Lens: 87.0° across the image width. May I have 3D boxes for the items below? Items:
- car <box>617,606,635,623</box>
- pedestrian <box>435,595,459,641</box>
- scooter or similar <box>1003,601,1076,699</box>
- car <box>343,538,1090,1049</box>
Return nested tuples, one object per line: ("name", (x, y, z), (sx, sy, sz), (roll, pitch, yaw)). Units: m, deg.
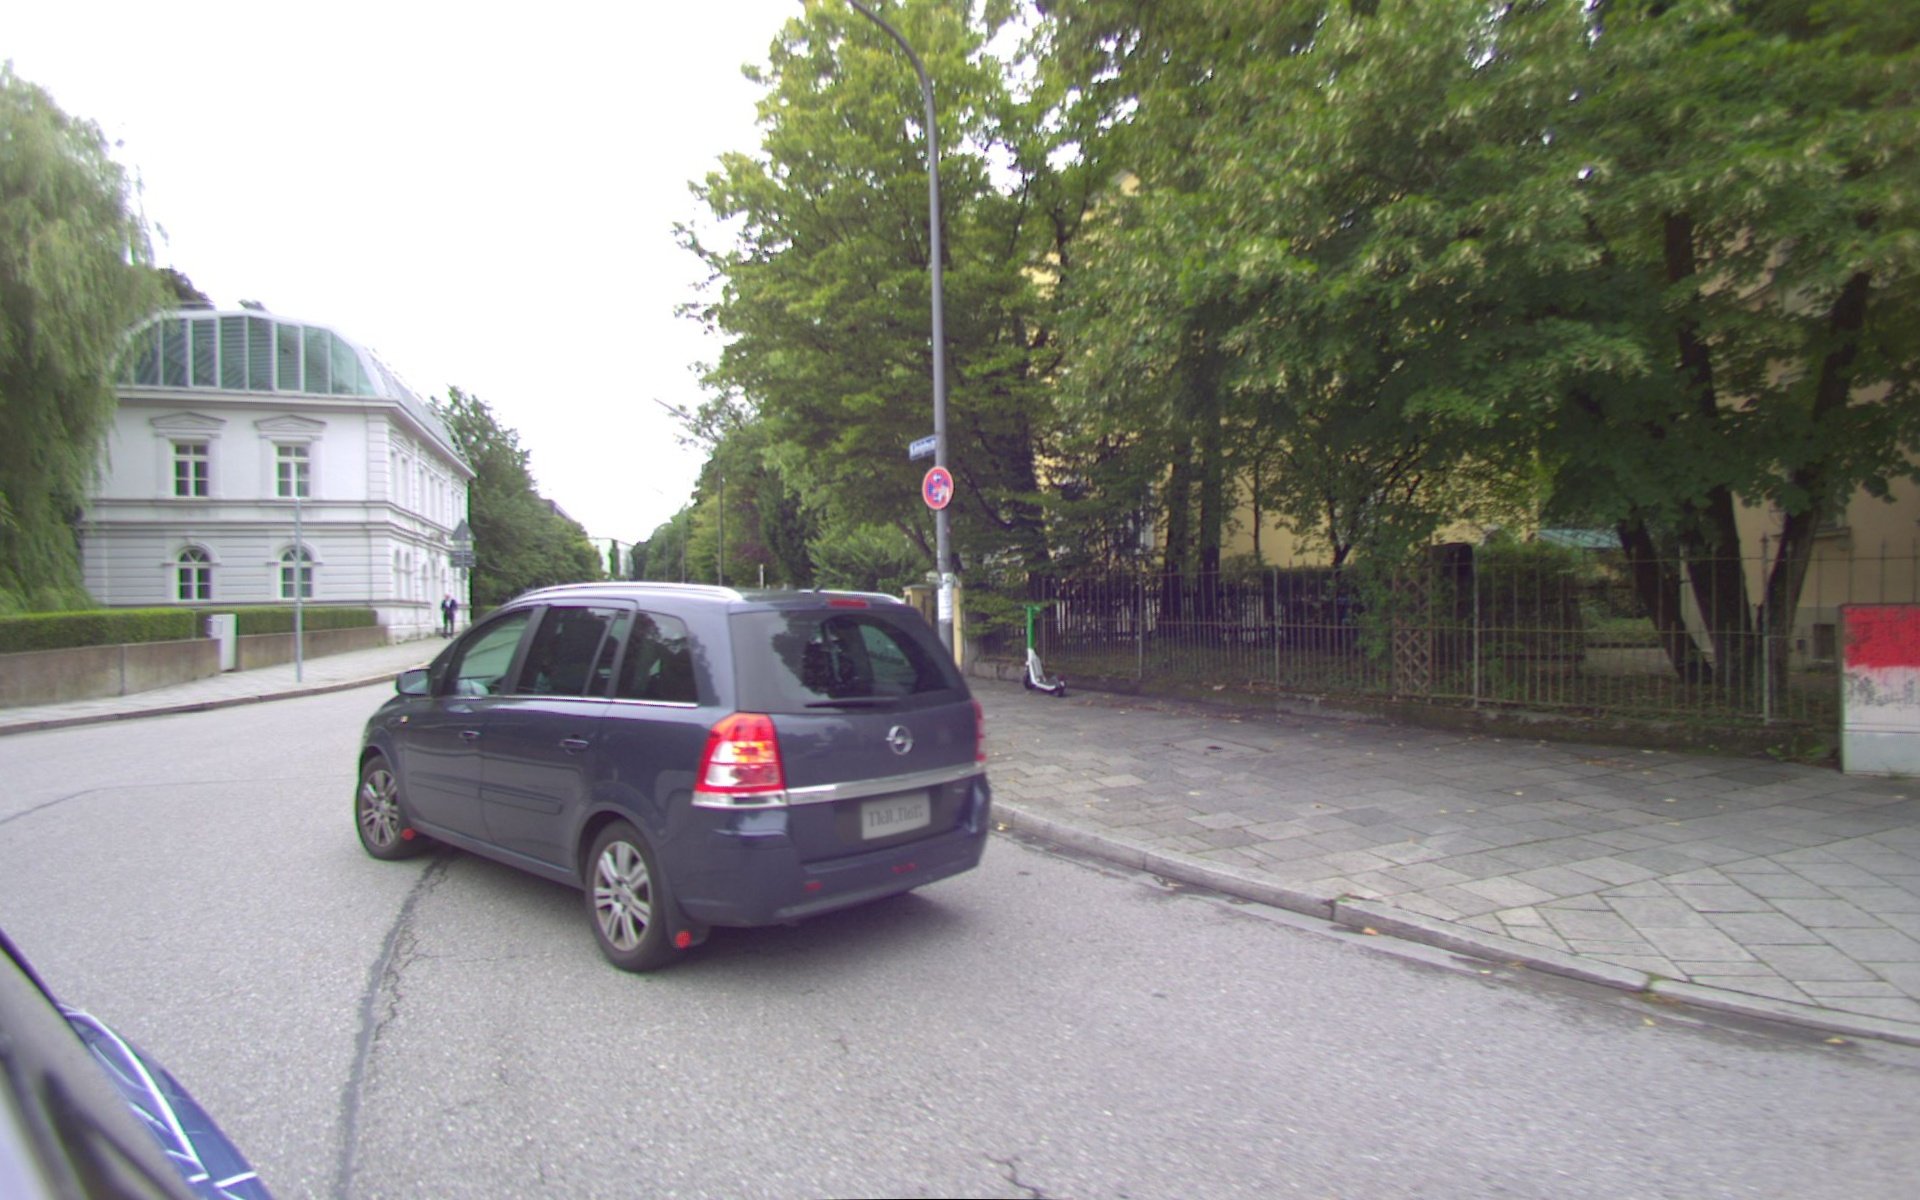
("car", (-40.044, 1.711, 121.212), (1.966, 2.029, 4.013), (-1, 0, -18))
("pedestrian", (-19.578, 0.689, 38.639), (0.668, 1.719, 0.770), (0, 0, -16))
("scooter or similar", (1.028, 0.629, 13.380), (0.385, 1.198, 1.424), (-5, 1, -16))
("car", (-1.623, 0.662, 5.599), (4.335, 1.706, 1.972), (0, -1, 43))
